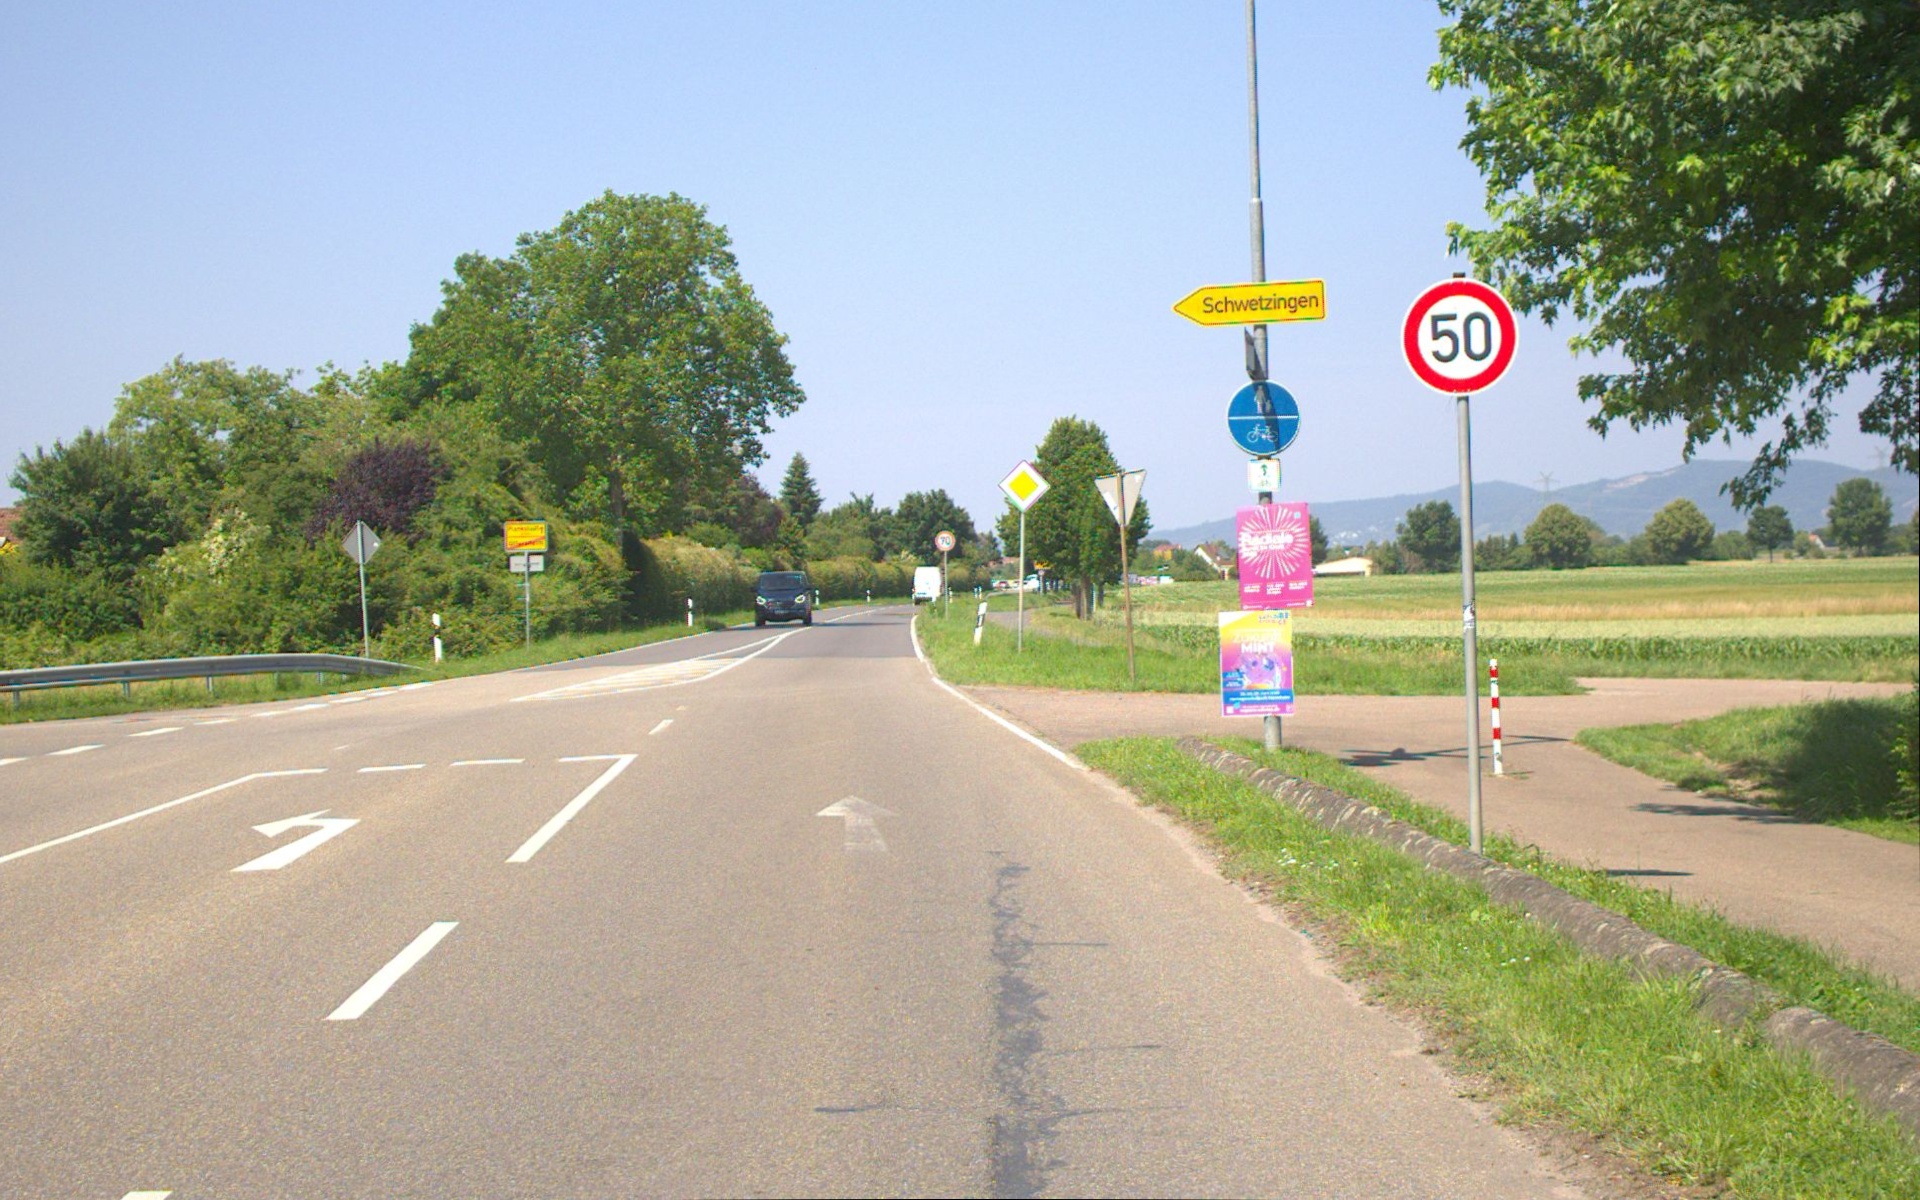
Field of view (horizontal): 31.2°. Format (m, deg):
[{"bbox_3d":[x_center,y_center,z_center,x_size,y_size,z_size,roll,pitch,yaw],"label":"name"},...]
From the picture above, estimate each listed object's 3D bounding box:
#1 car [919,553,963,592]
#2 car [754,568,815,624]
[{"bbox_3d":[-1.330,-1.943,242.271,1.995,2.642,3.997,-2,1,15],"label":"car"},{"bbox_3d":[-6.488,-0.160,127.345,2.144,1.944,5.248,-2,1,-2],"label":"car"}]
